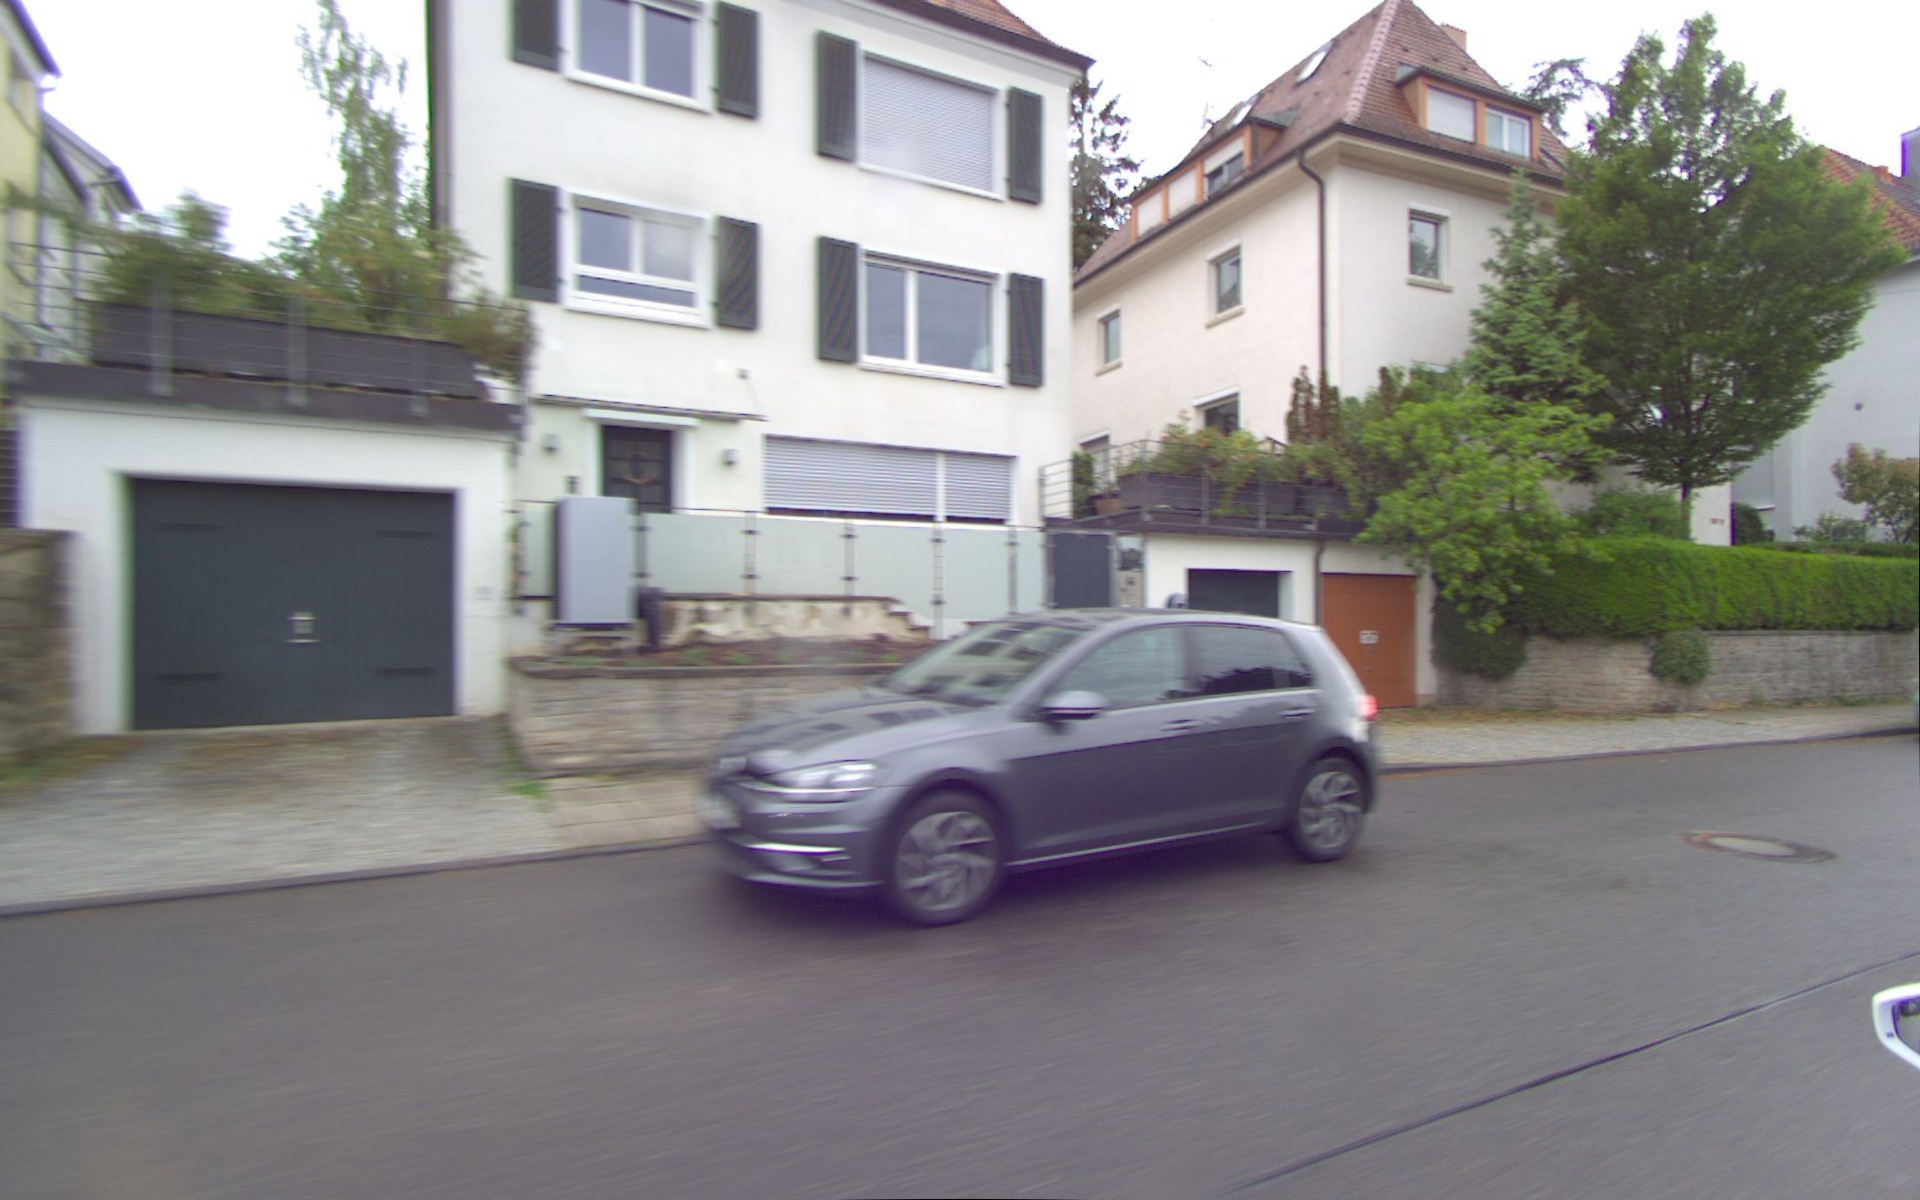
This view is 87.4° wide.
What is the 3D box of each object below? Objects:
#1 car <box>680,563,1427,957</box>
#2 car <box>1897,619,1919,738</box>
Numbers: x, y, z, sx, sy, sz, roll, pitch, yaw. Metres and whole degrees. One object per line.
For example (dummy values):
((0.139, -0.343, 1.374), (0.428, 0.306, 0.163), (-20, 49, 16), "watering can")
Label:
((0.631, 0.653, 5.920), (4.089, 1.602, 1.783), (1, 2, -30), "car")
((13.935, 1.038, 13.012), (3.444, 1.506, 1.598), (1, 0, -28), "car")
